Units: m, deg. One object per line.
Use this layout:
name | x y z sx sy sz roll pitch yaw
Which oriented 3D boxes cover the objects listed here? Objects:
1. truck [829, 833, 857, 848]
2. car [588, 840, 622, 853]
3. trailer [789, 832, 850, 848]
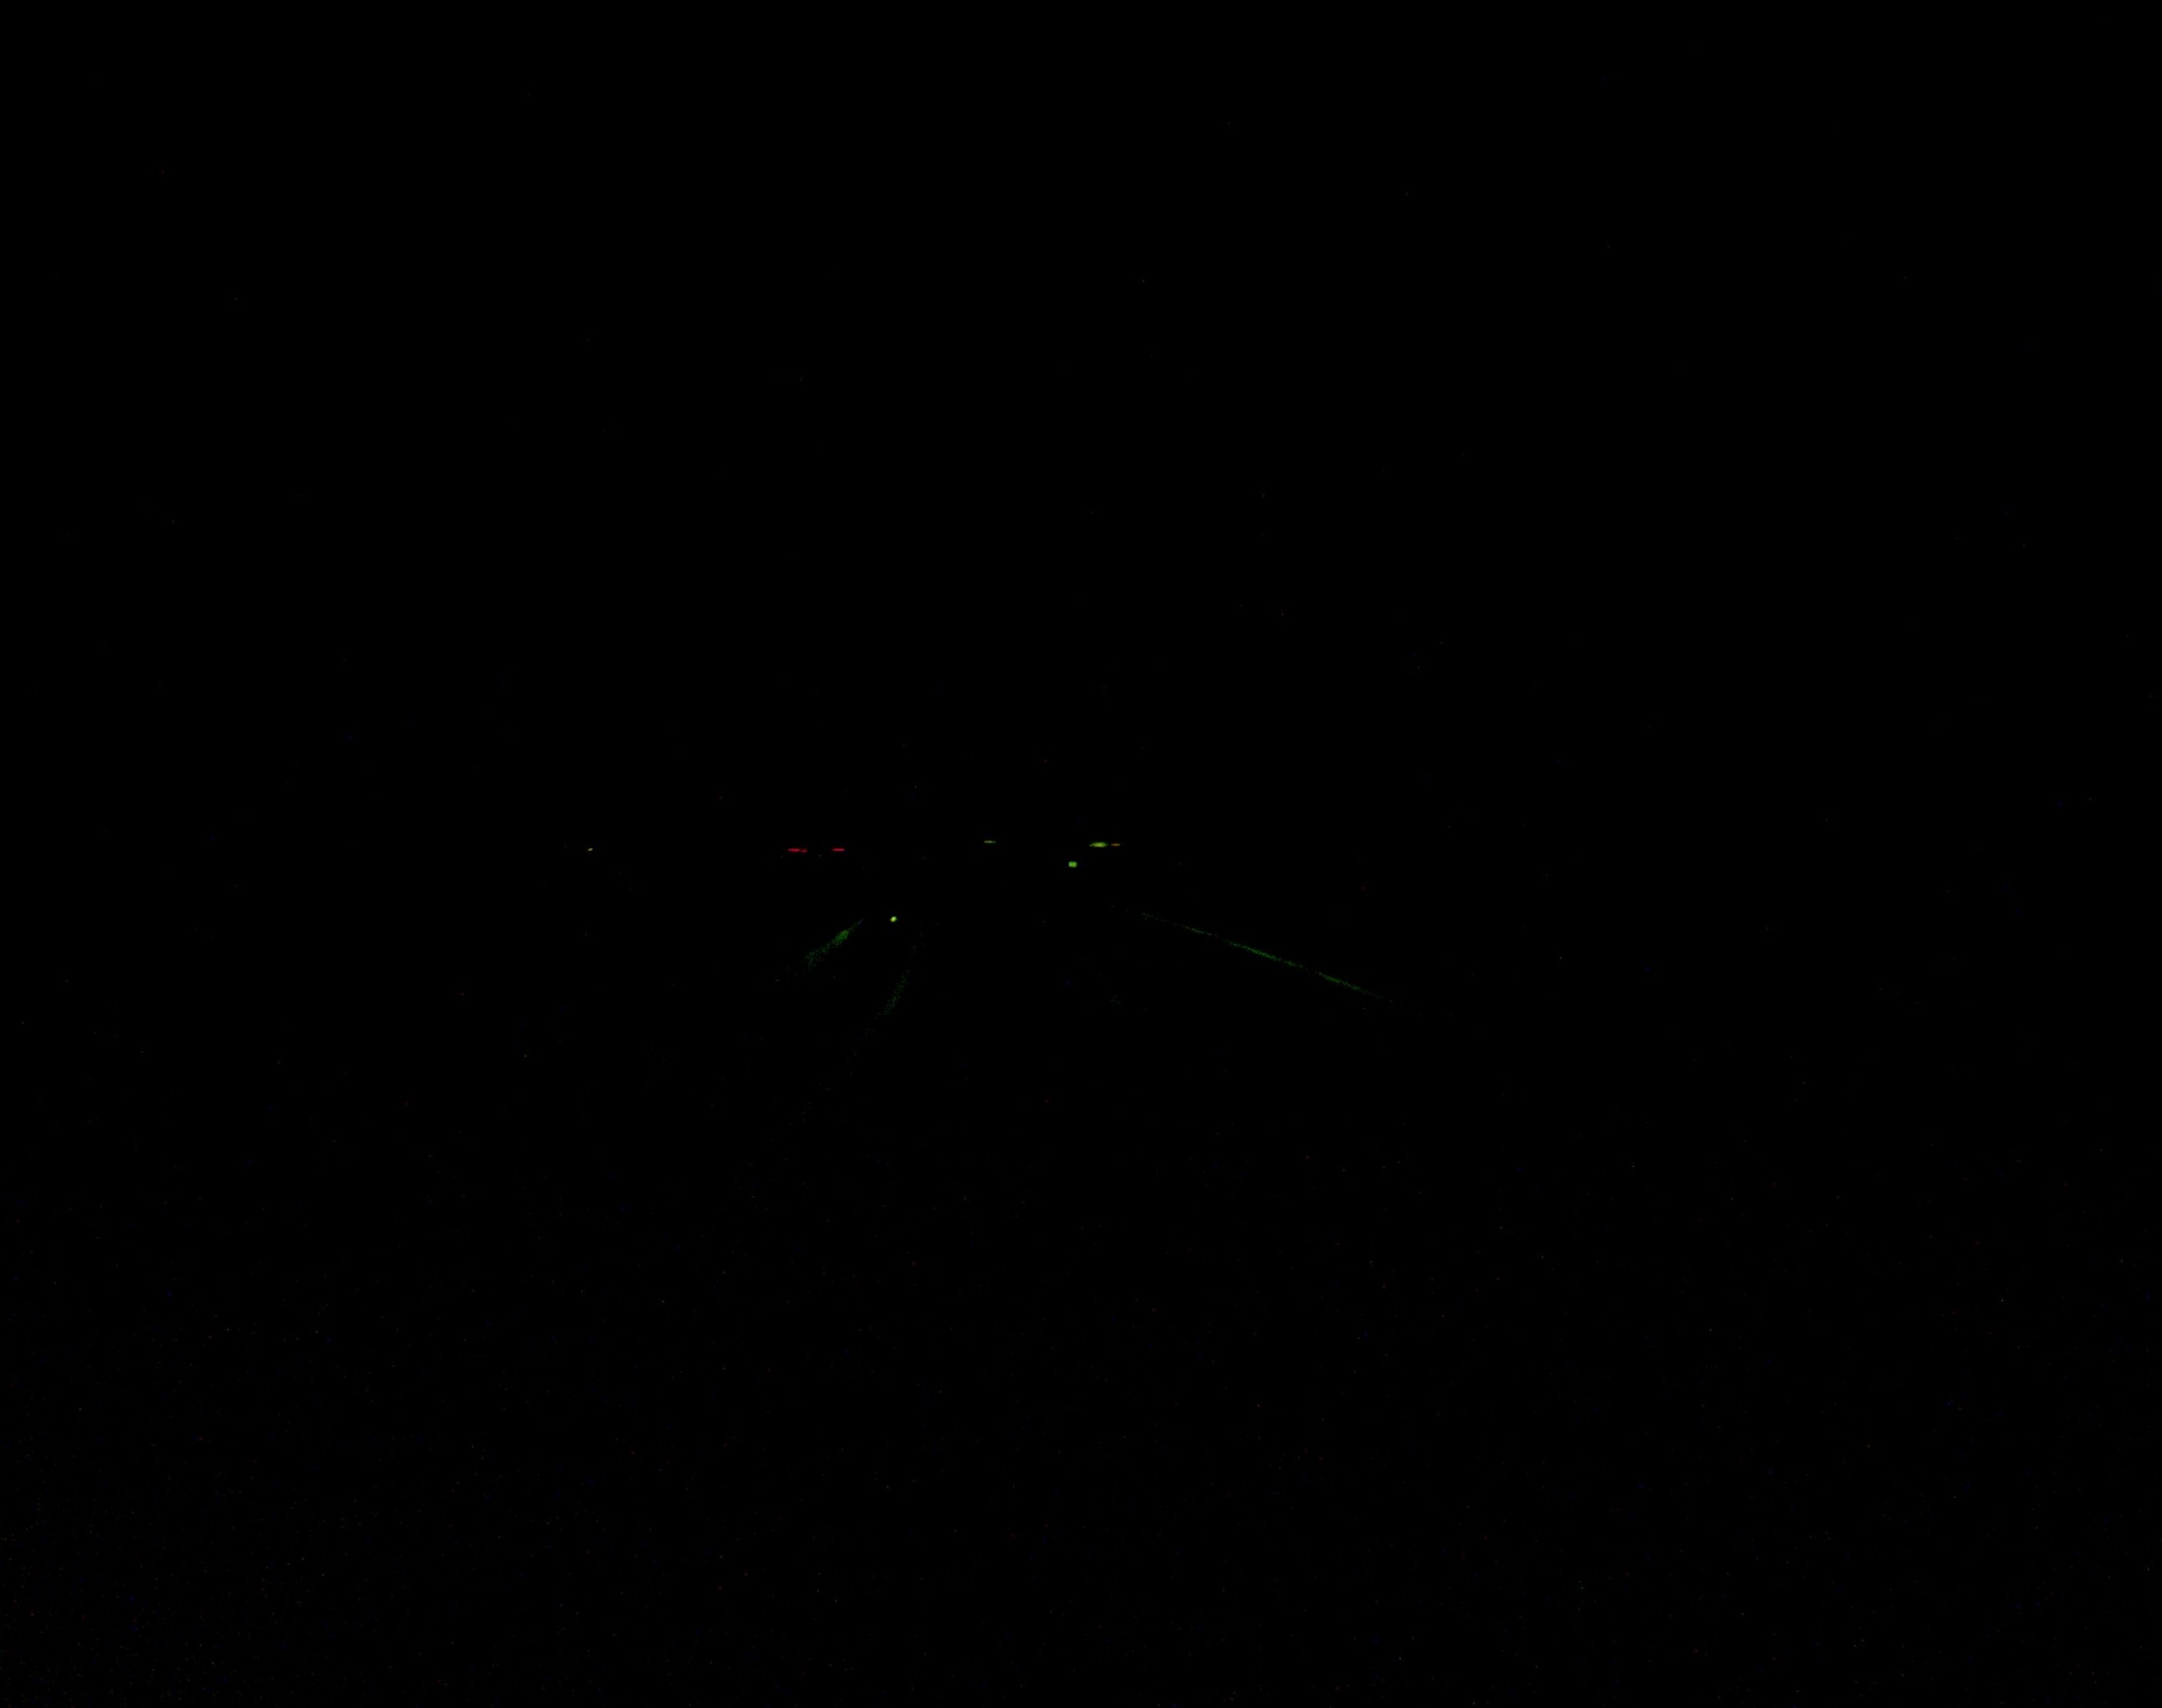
truck | -46.529 -2.627 159.034 2.652 2.690 4.784 2 1 25
car | -78.337 -1.174 134.194 1.976 2.013 4.494 2 1 21
trailer | -49.153 -2.648 153.533 2.663 2.699 12.932 2 1 26
